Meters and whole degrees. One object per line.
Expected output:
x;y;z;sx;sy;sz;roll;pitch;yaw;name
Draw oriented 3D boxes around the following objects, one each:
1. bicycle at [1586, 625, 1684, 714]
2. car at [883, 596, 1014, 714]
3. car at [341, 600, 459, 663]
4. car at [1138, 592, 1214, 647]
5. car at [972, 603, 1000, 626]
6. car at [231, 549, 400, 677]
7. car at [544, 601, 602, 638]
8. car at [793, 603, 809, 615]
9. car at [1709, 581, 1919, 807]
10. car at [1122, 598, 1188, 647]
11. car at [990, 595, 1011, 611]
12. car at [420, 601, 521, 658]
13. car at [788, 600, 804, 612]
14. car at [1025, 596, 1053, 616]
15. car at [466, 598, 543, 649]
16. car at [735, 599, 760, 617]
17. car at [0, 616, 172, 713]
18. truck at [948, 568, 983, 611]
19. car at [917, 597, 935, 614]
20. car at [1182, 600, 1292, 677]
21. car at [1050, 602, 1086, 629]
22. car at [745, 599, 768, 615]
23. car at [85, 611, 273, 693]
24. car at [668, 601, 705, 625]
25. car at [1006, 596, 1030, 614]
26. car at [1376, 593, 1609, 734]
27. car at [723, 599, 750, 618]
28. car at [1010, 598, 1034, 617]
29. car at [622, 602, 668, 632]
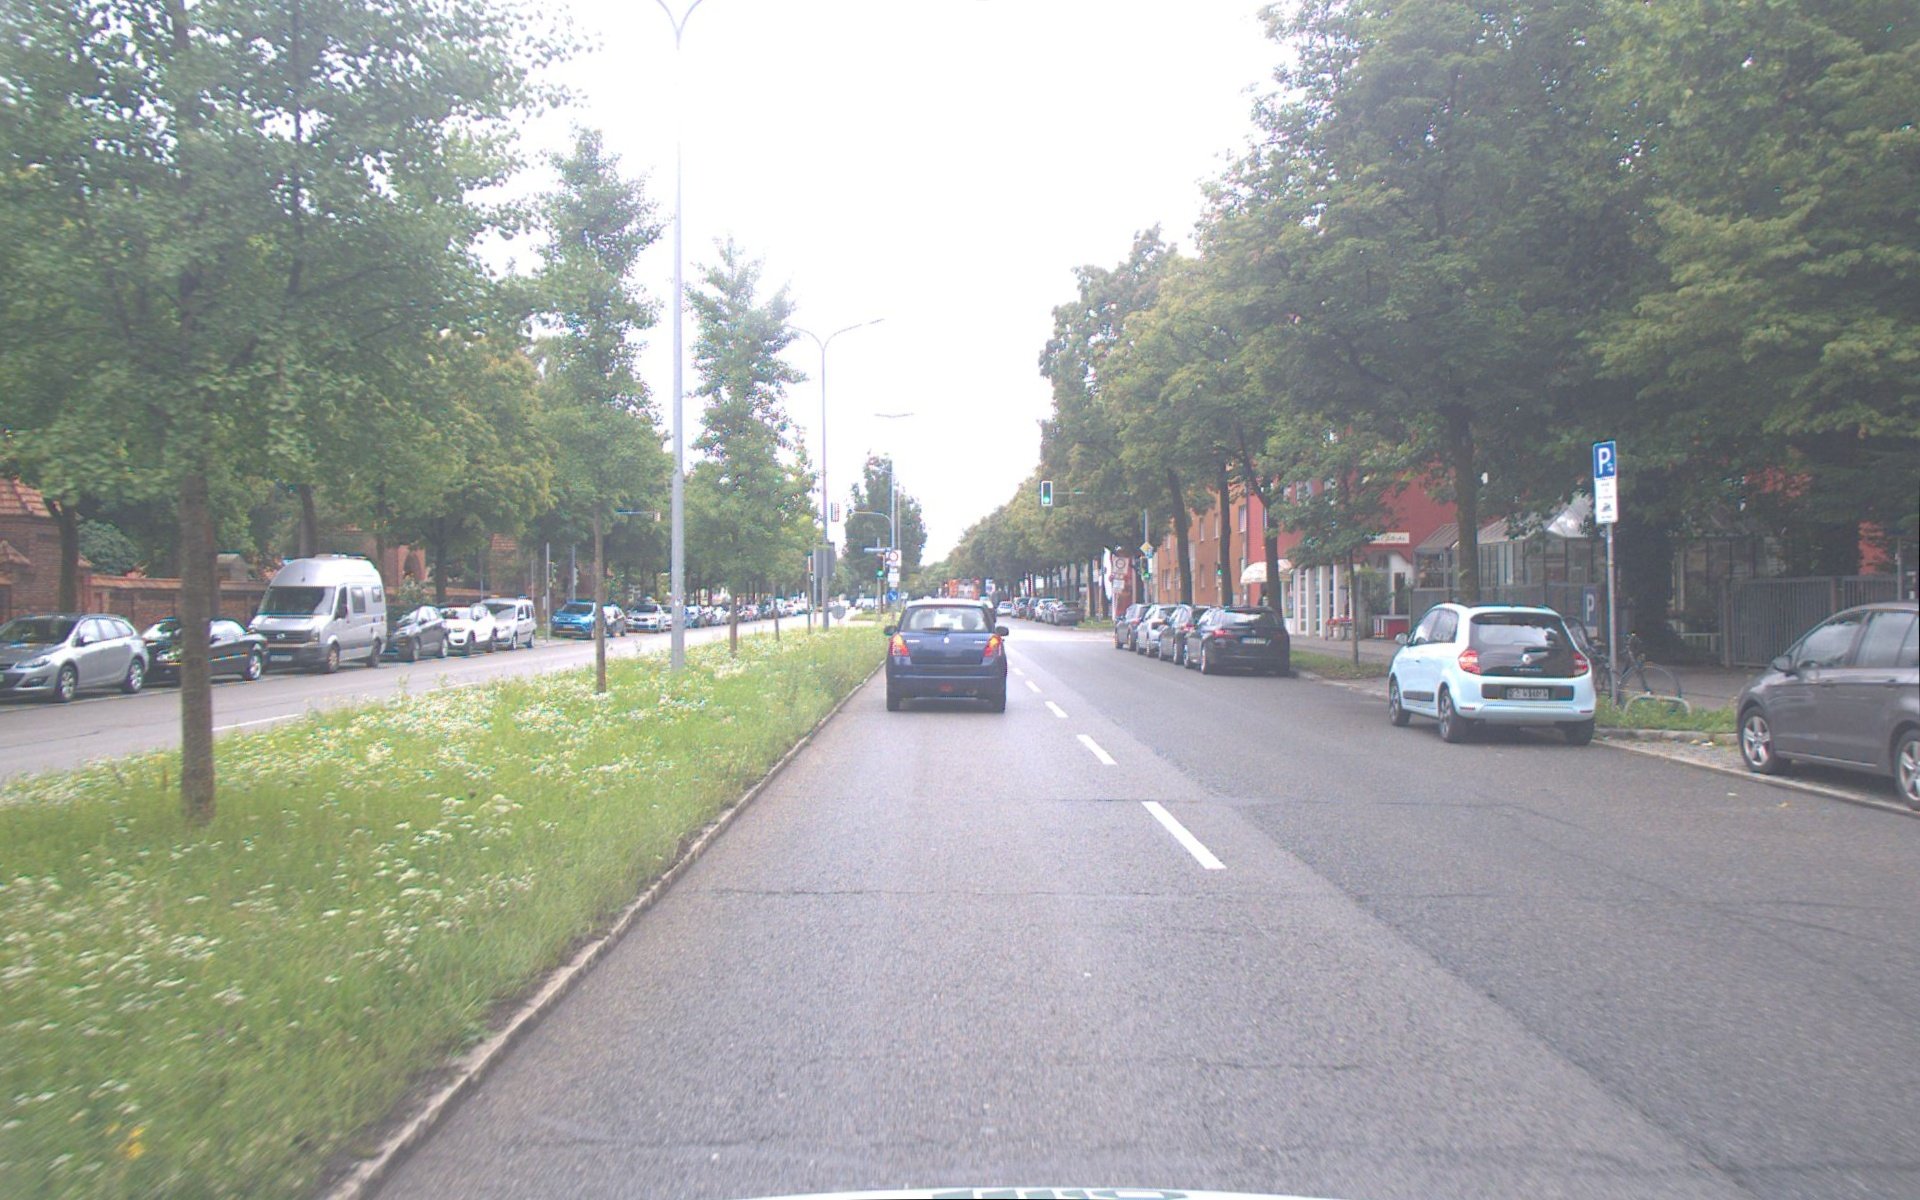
8.194;0.821;20.147;0.439;0.997;1.798;0;0;-1;bicycle
-0.145;0.725;23.807;1.717;1.531;4.000;0;0;0;car
-16.470;0.897;48.880;2.142;1.767;4.575;0;0;-3;car
6.061;0.522;46.710;1.660;1.477;4.123;-1;0;1;car
1.779;1.010;114.948;1.784;1.503;4.690;1;0;-1;car
-16.222;0.295;42.035;2.142;3.005;6.188;0;0;-3;car
-17.106;0.840;73.268;1.671;1.561;3.999;-1;0;-1;car
-21.332;1.152;221.653;1.765;1.561;3.999;-1;0;-1;car
8.107;0.694;13.772;1.778;1.654;4.308;-2;0;0;car
6.091;0.680;52.125;1.660;1.477;4.123;-1;0;1;car
4.029;0.315;166.793;1.953;1.557;3.999;-1;0;-1;car
-15.896;0.923;53.957;2.142;1.767;4.575;0;0;-3;car
-21.203;0.781;214.171;1.765;1.561;3.999;-1;0;-1;car
6.236;0.437;131.377;1.953;1.557;3.999;-1;0;-1;car
-16.376;0.822;59.610;1.671;1.764;3.999;-1;0;-1;car
-18.739;0.668;145.961;1.765;1.561;3.999;-1;0;-1;car
-16.038;1.091;29.673;1.777;1.563;4.440;0;0;-2;car
0.501;-0.888;146.655;2.979;3.619;13.674;0;0;0;truck
-3.160;0.469;153.623;1.683;1.527;4.300;0;0;-1;car
6.048;0.796;36.570;1.620;1.477;4.708;-2;0;0;car
6.681;0.946;102.583;1.953;1.557;3.999;-1;0;-1;car
-19.806;0.652;161.017;1.765;1.561;3.999;-1;0;-1;car
-16.303;1.027;34.831;1.777;1.563;4.818;0;0;-1;car
-17.748;0.847;107.537;1.765;1.561;3.999;0;0;-1;car
5.205;0.468;148.584;1.953;1.557;3.999;0;0;-1;car
6.290;0.680;19.979;1.619;1.477;4.001;-1;0;2;car
-18.376;0.697;136.095;1.765;1.561;3.999;0;0;-1;car
5.371;0.642;143.717;1.953;1.557;3.999;-1;0;-1;car
-17.277;0.921;90.875;1.765;1.561;3.999;-1;0;-1;car
